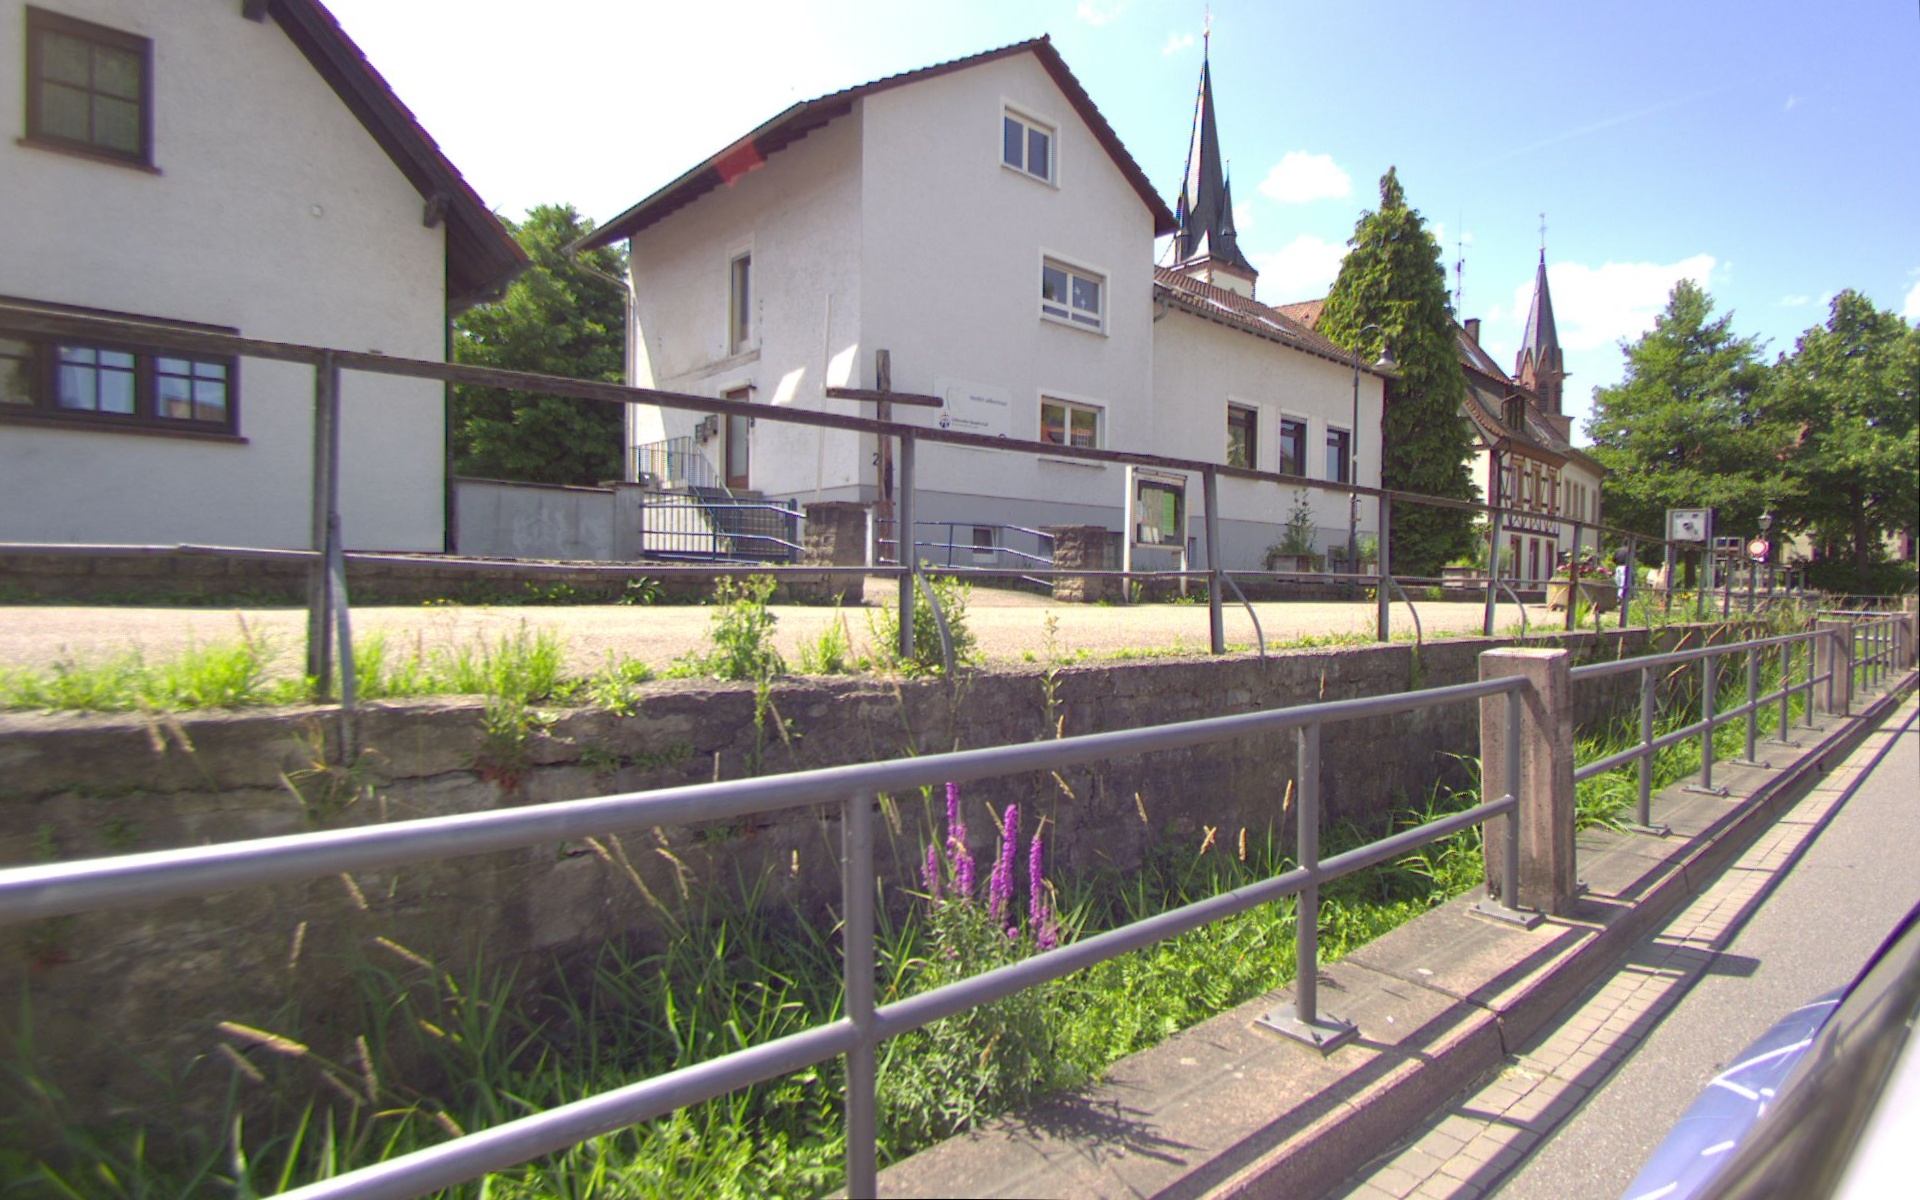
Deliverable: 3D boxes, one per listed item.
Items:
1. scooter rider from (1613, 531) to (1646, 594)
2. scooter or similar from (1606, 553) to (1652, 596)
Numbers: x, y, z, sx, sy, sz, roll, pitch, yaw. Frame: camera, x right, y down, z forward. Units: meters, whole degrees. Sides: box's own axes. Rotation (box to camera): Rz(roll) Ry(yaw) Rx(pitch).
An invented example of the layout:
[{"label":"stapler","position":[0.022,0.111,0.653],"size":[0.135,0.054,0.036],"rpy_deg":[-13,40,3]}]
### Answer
[{"label":"scooter rider","position":[18.709,-1.038,28.285],"size":[0.545,1.753,0.642],"rpy_deg":[0,1,-42]},{"label":"scooter or similar","position":[18.726,-0.712,28.308],"size":[1.781,1.156,0.642],"rpy_deg":[-1,3,-43]}]
